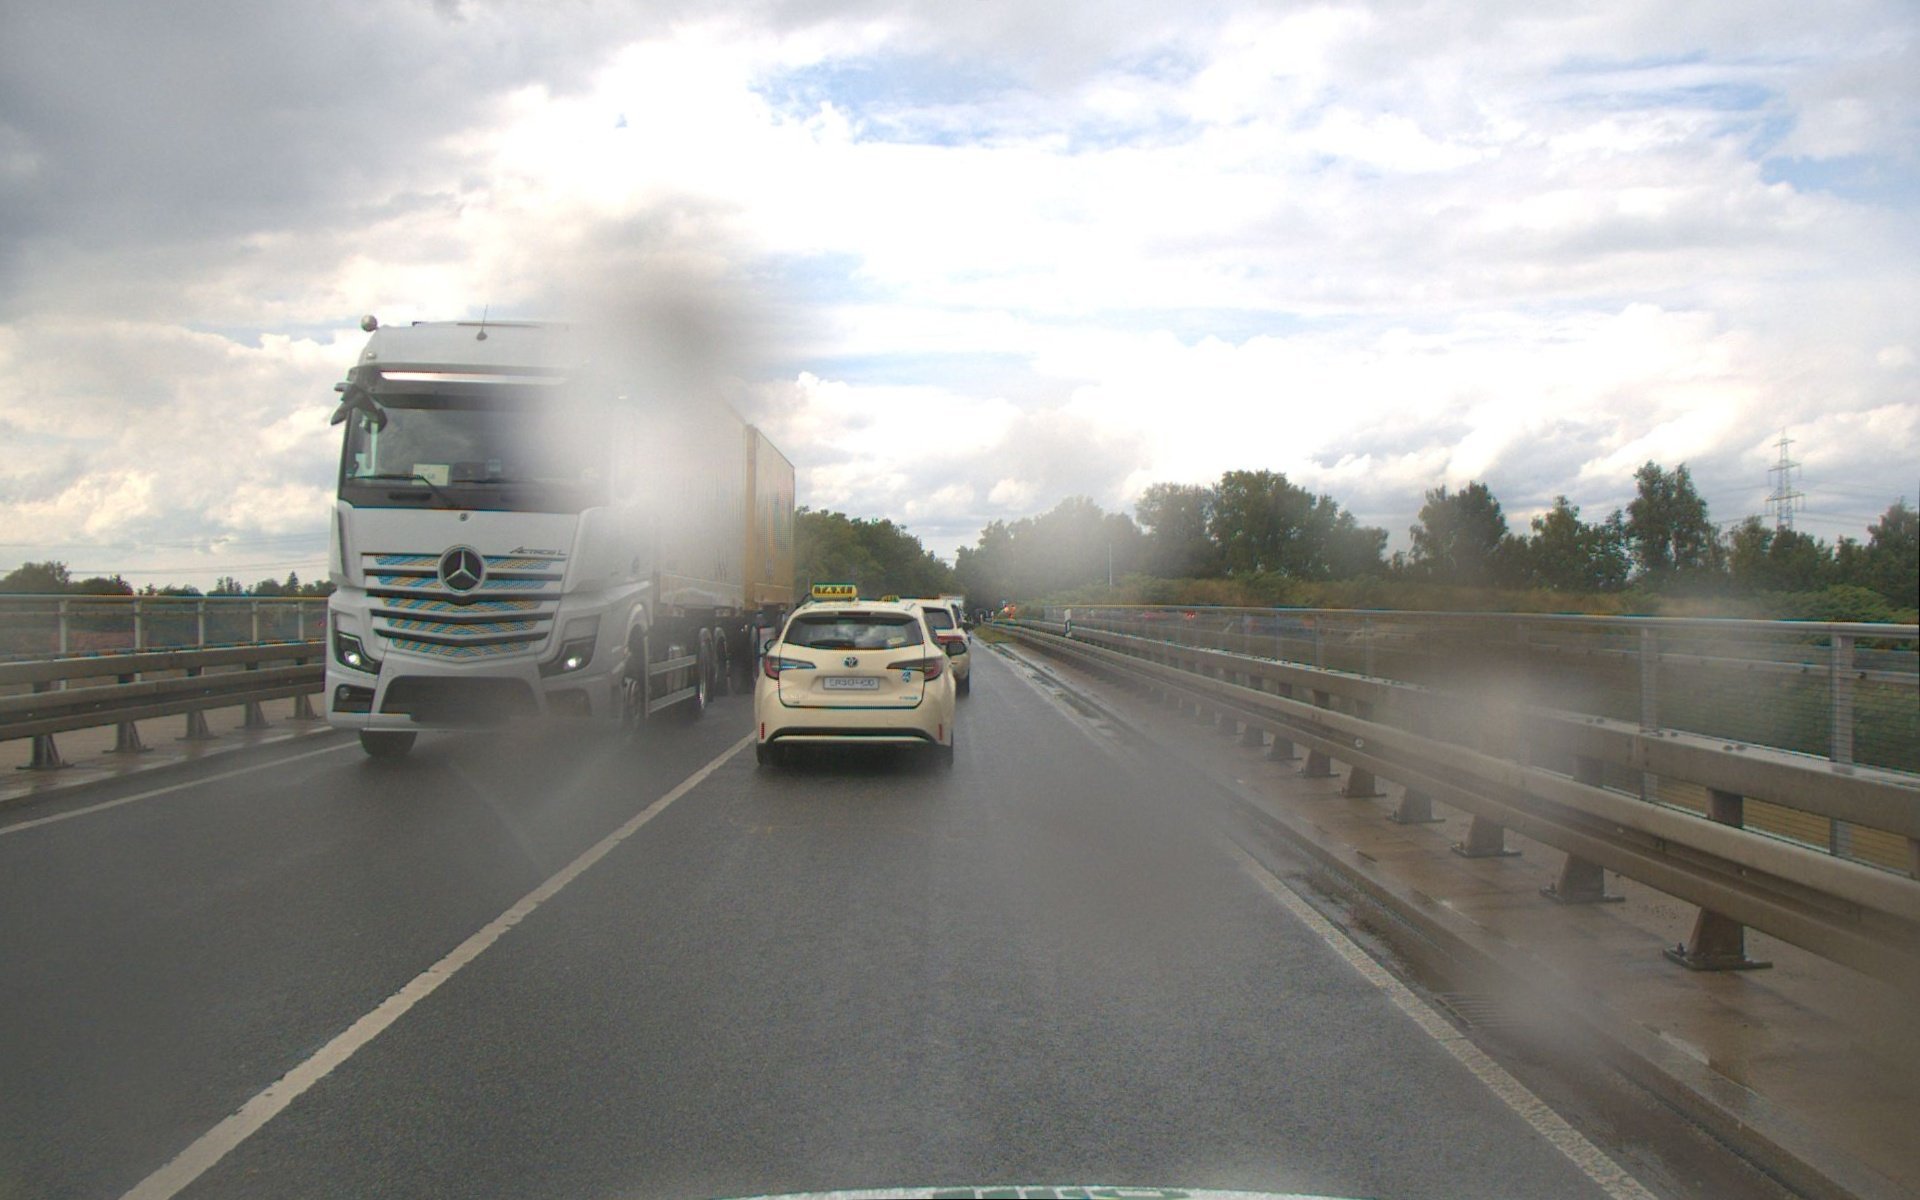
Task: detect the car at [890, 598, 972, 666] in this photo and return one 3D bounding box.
[{"bbox_3d":[-0.687,0.708,39.114,1.817,1.468,4.170,1,0,-1],"label":"car"}]

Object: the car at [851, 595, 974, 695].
[{"bbox_3d":[-0.747,0.671,27.059,1.817,1.468,4.170,1,0,-1],"label":"car"}]

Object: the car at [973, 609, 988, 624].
[{"bbox_3d":[2.801,2.287,227.223,1.953,2.049,3.999,1,0,-2],"label":"car"}]

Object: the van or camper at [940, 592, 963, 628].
[{"bbox_3d":[-0.878,1.010,167.991,2.285,3.625,6.305,1,0,-1],"label":"van or camper"}]

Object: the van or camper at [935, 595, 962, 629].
[{"bbox_3d":[-1.029,1.029,143.657,2.285,2.914,6.305,1,0,-1],"label":"van or camper"}]

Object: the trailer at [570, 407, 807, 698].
[{"bbox_3d":[-4.290,-0.687,27.986,2.628,4.146,8.484,1,0,-1],"label":"trailer"}]

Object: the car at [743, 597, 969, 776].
[{"bbox_3d":[-0.878,0.704,15.606,1.817,1.418,4.170,1,0,-1],"label":"car"}]

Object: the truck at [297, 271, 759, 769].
[{"bbox_3d":[-4.176,-0.673,18.700,2.628,4.087,10.053,1,0,-1],"label":"truck"}]
